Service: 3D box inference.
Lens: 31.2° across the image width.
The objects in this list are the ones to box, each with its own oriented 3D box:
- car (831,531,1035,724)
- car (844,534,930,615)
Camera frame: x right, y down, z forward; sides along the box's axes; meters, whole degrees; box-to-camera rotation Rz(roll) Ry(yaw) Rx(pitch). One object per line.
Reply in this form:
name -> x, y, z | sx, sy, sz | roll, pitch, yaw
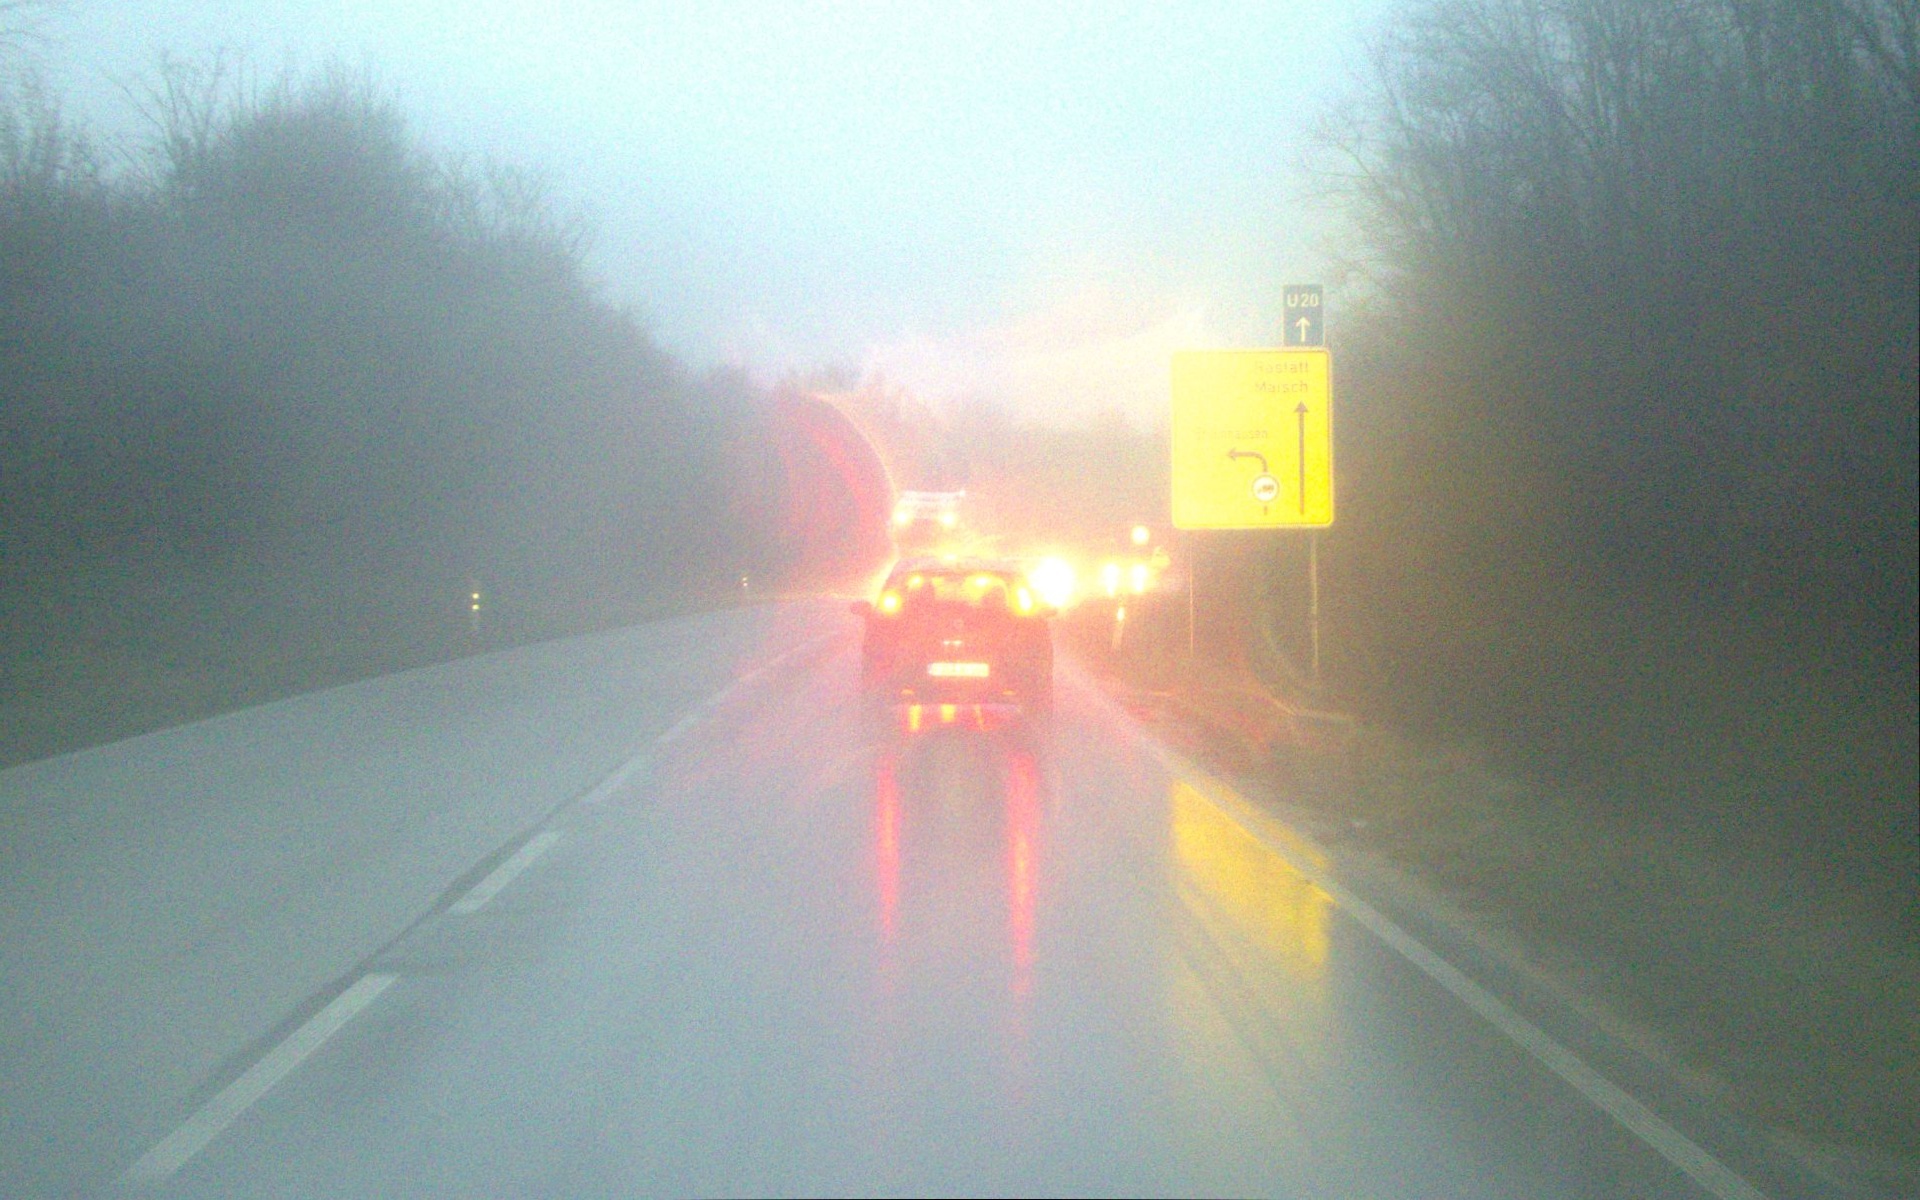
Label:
car -> -0.235, 0.198, 31.186 | 1.727, 1.638, 4.000 | 0, 1, 0
car -> -1.497, -0.551, 71.621 | 1.727, 1.638, 4.000 | 0, 1, 0
